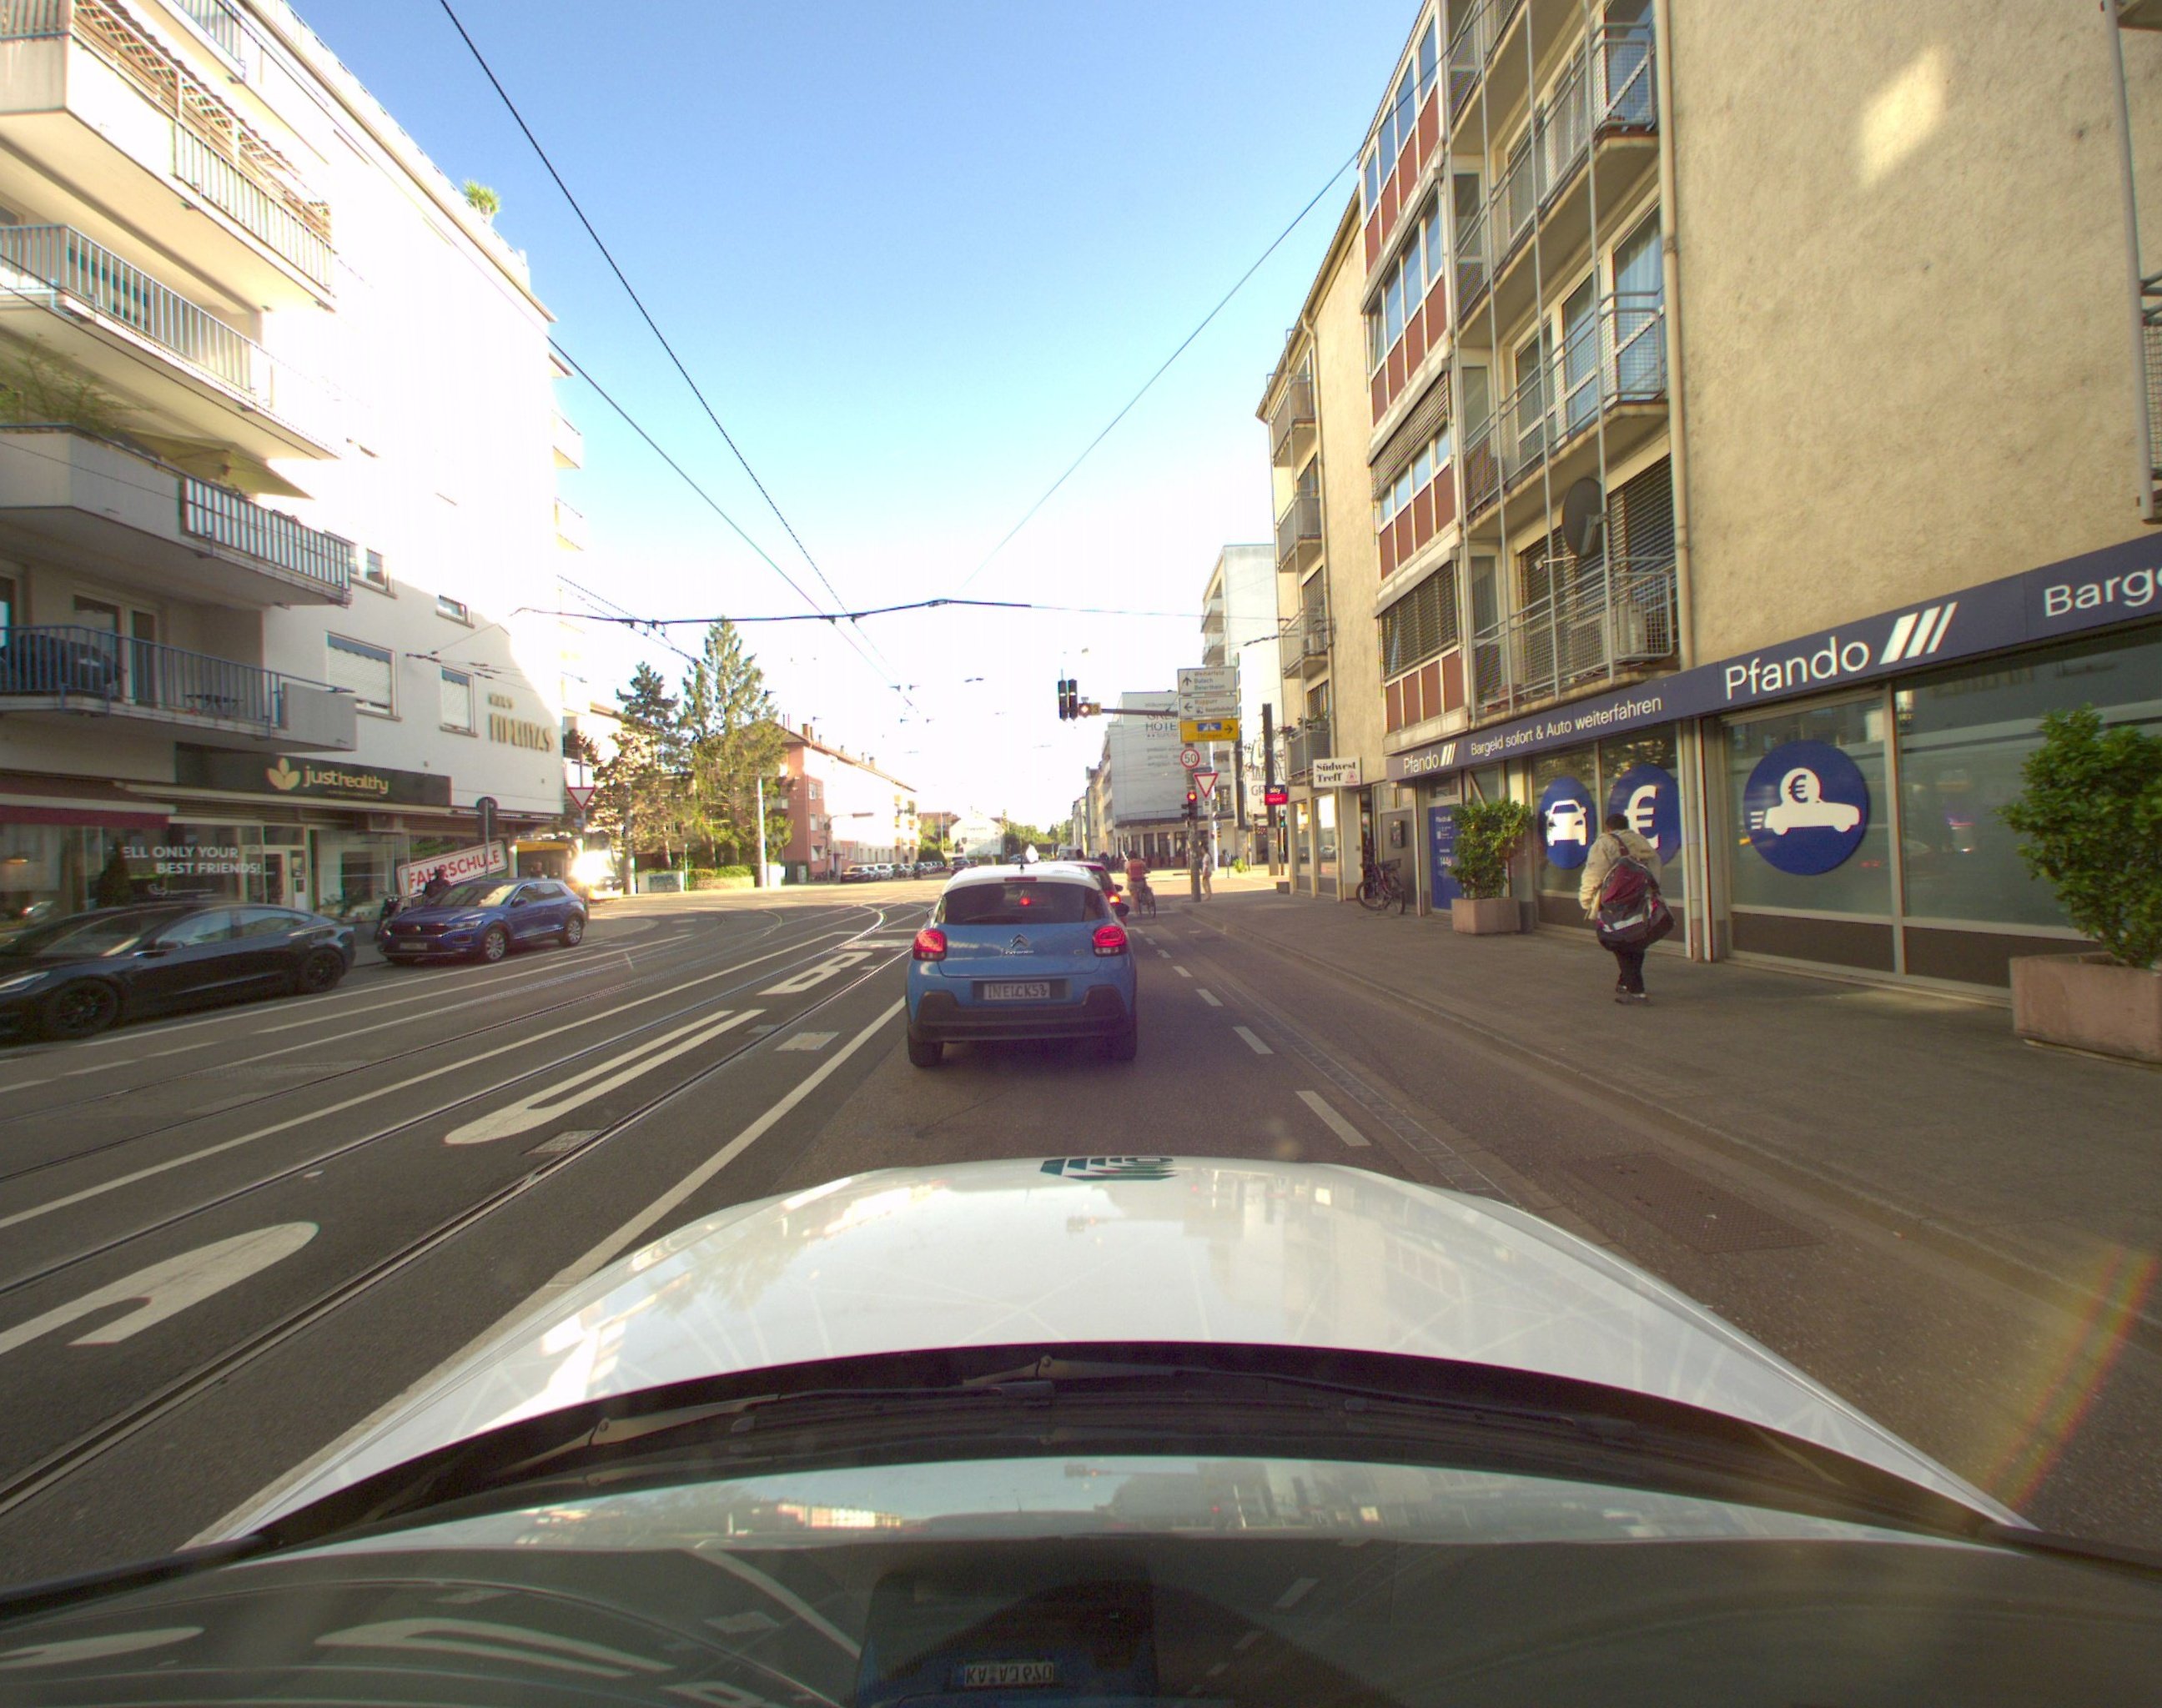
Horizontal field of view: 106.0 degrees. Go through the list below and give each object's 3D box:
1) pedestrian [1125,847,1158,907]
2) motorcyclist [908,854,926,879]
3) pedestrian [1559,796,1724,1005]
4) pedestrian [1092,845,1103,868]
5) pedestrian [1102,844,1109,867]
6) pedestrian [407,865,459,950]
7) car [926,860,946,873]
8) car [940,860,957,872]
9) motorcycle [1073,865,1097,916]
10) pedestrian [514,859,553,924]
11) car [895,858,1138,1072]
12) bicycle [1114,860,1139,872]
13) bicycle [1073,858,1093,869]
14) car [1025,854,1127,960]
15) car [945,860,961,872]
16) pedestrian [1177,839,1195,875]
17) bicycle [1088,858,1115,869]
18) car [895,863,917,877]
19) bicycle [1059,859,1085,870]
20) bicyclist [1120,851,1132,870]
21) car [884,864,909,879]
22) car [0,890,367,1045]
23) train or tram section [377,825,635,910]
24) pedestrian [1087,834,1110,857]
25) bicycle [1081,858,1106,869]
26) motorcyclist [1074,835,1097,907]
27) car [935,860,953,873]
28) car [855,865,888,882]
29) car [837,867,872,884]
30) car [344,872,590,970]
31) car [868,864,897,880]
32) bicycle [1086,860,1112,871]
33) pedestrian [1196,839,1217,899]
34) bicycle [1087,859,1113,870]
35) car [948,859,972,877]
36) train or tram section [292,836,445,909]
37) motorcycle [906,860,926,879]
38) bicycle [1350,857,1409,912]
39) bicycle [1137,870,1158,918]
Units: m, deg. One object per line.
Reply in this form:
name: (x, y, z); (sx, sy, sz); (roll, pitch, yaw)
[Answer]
pedestrian: (1.503, 0.565, 20.340); (0.774, 1.460, 0.682); (0, -1, 1)
motorcyclist: (-13.637, 1.002, 67.643); (1.182, 2.013, 1.275); (-2, 0, -1)
pedestrian: (4.518, 0.359, 6.622); (0.822, 1.593, 0.751); (0, -1, 1)
pedestrian: (1.420, 0.214, 69.271); (0.635, 2.014, 0.717); (0, -1, -34)
pedestrian: (2.104, 0.146, 70.367); (0.575, 2.014, 0.625); (0, -1, -1)
pedestrian: (-14.131, 1.150, 17.769); (0.569, 1.805, 0.699); (0, -1, 1)
car: (-18.961, 1.666, 106.578); (1.978, 1.687, 3.998); (0, -1, -1)
car: (-19.108, 1.653, 117.318); (1.828, 1.687, 3.998); (0, -1, -1)
motorcycle: (0.111, 0.838, 19.555); (0.524, 1.139, 2.290); (0, -1, 2)
pedestrian: (-17.249, 1.167, 25.662); (0.767, 2.014, 0.694); (0, -1, -4)
car: (-0.385, 0.771, 7.301); (1.648, 1.444, 3.524); (0, -1, 2)
bicycle: (3.445, 0.909, 61.595); (1.837, 0.903, 0.352); (-1, -1, 21)
bicycle: (0.157, 0.823, 69.633); (1.765, 0.901, 0.369); (-1, -1, 36)
car: (-0.031, 0.785, 13.241); (1.419, 1.467, 2.925); (-2, -1, 2)
car: (-19.174, 1.756, 121.967); (1.841, 1.687, 3.872); (0, -1, -1)
pedestrian: (6.056, 0.173, 46.895); (0.922, 2.014, 0.760); (0, -1, 1)
bicycle: (1.675, 0.770, 66.010); (2.130, 0.901, 0.366); (0, -1, -7)
car: (-19.944, 1.843, 92.815); (1.728, 1.498, 3.996); (0, -1, -2)
bicycle: (-0.716, 0.877, 66.456); (2.130, 0.901, 0.366); (0, -1, -7)
bicyclist: (3.417, 0.496, 61.671); (0.739, 1.477, 0.565); (-1, -1, 20)
car: (-19.618, 1.827, 86.745); (1.781, 1.498, 3.998); (0, -1, -1)
car: (-12.000, 1.289, 10.445); (1.816, 1.387, 4.425); (-2, 0, -2)
train or tram section: (-28.129, 0.708, 39.763); (12.491, 3.594, 3.086); (-2, -1, 16)
pedestrian: (1.632, -0.728, 73.688); (1.986, 2.014, 4.001); (0, -1, 2)
bicycle: (1.057, 0.819, 68.429); (2.130, 0.901, 0.366); (0, -1, -7)
motorcyclist: (0.118, 0.404, 19.747); (0.524, 1.716, 0.717); (0, -1, 2)
car: (-18.864, 1.674, 111.966); (1.877, 1.687, 3.998); (0, -1, -1)
car: (-19.320, 1.785, 75.141); (1.808, 1.498, 4.302); (0, 0, 2)
car: (-19.266, 1.809, 69.478); (1.787, 1.421, 3.996); (0, 0, 1)
car: (-11.992, 1.222, 16.320); (1.864, 1.531, 4.068); (-2, 0, -2)
car: (-19.418, 1.735, 79.700); (1.781, 1.511, 4.150); (0, 0, 1)
bicycle: (1.487, 0.943, 67.687); (2.130, 0.901, 0.366); (0, -1, -7)
pedestrian: (3.732, 0.442, 24.312); (0.515, 1.783, 0.595); (0, -1, 0)
bicycle: (1.548, 0.867, 67.238); (2.130, 0.901, 0.366); (0, -1, -7)
car: (-11.361, 1.338, 76.866); (1.770, 1.666, 3.854); (0, -1, -2)
train or tram section: (-38.143, 0.948, 43.532); (8.971, 3.631, 2.851); (-1, -1, 26)
motorcycle: (-13.638, 1.272, 67.350); (0.921, 1.486, 3.724); (0, -1, -1)
bicycle: (5.733, 0.565, 15.726); (0.540, 0.998, 1.706); (0, -1, 2)
bicycle: (1.668, 0.977, 20.568); (0.426, 1.123, 1.999); (0, -1, 2)
